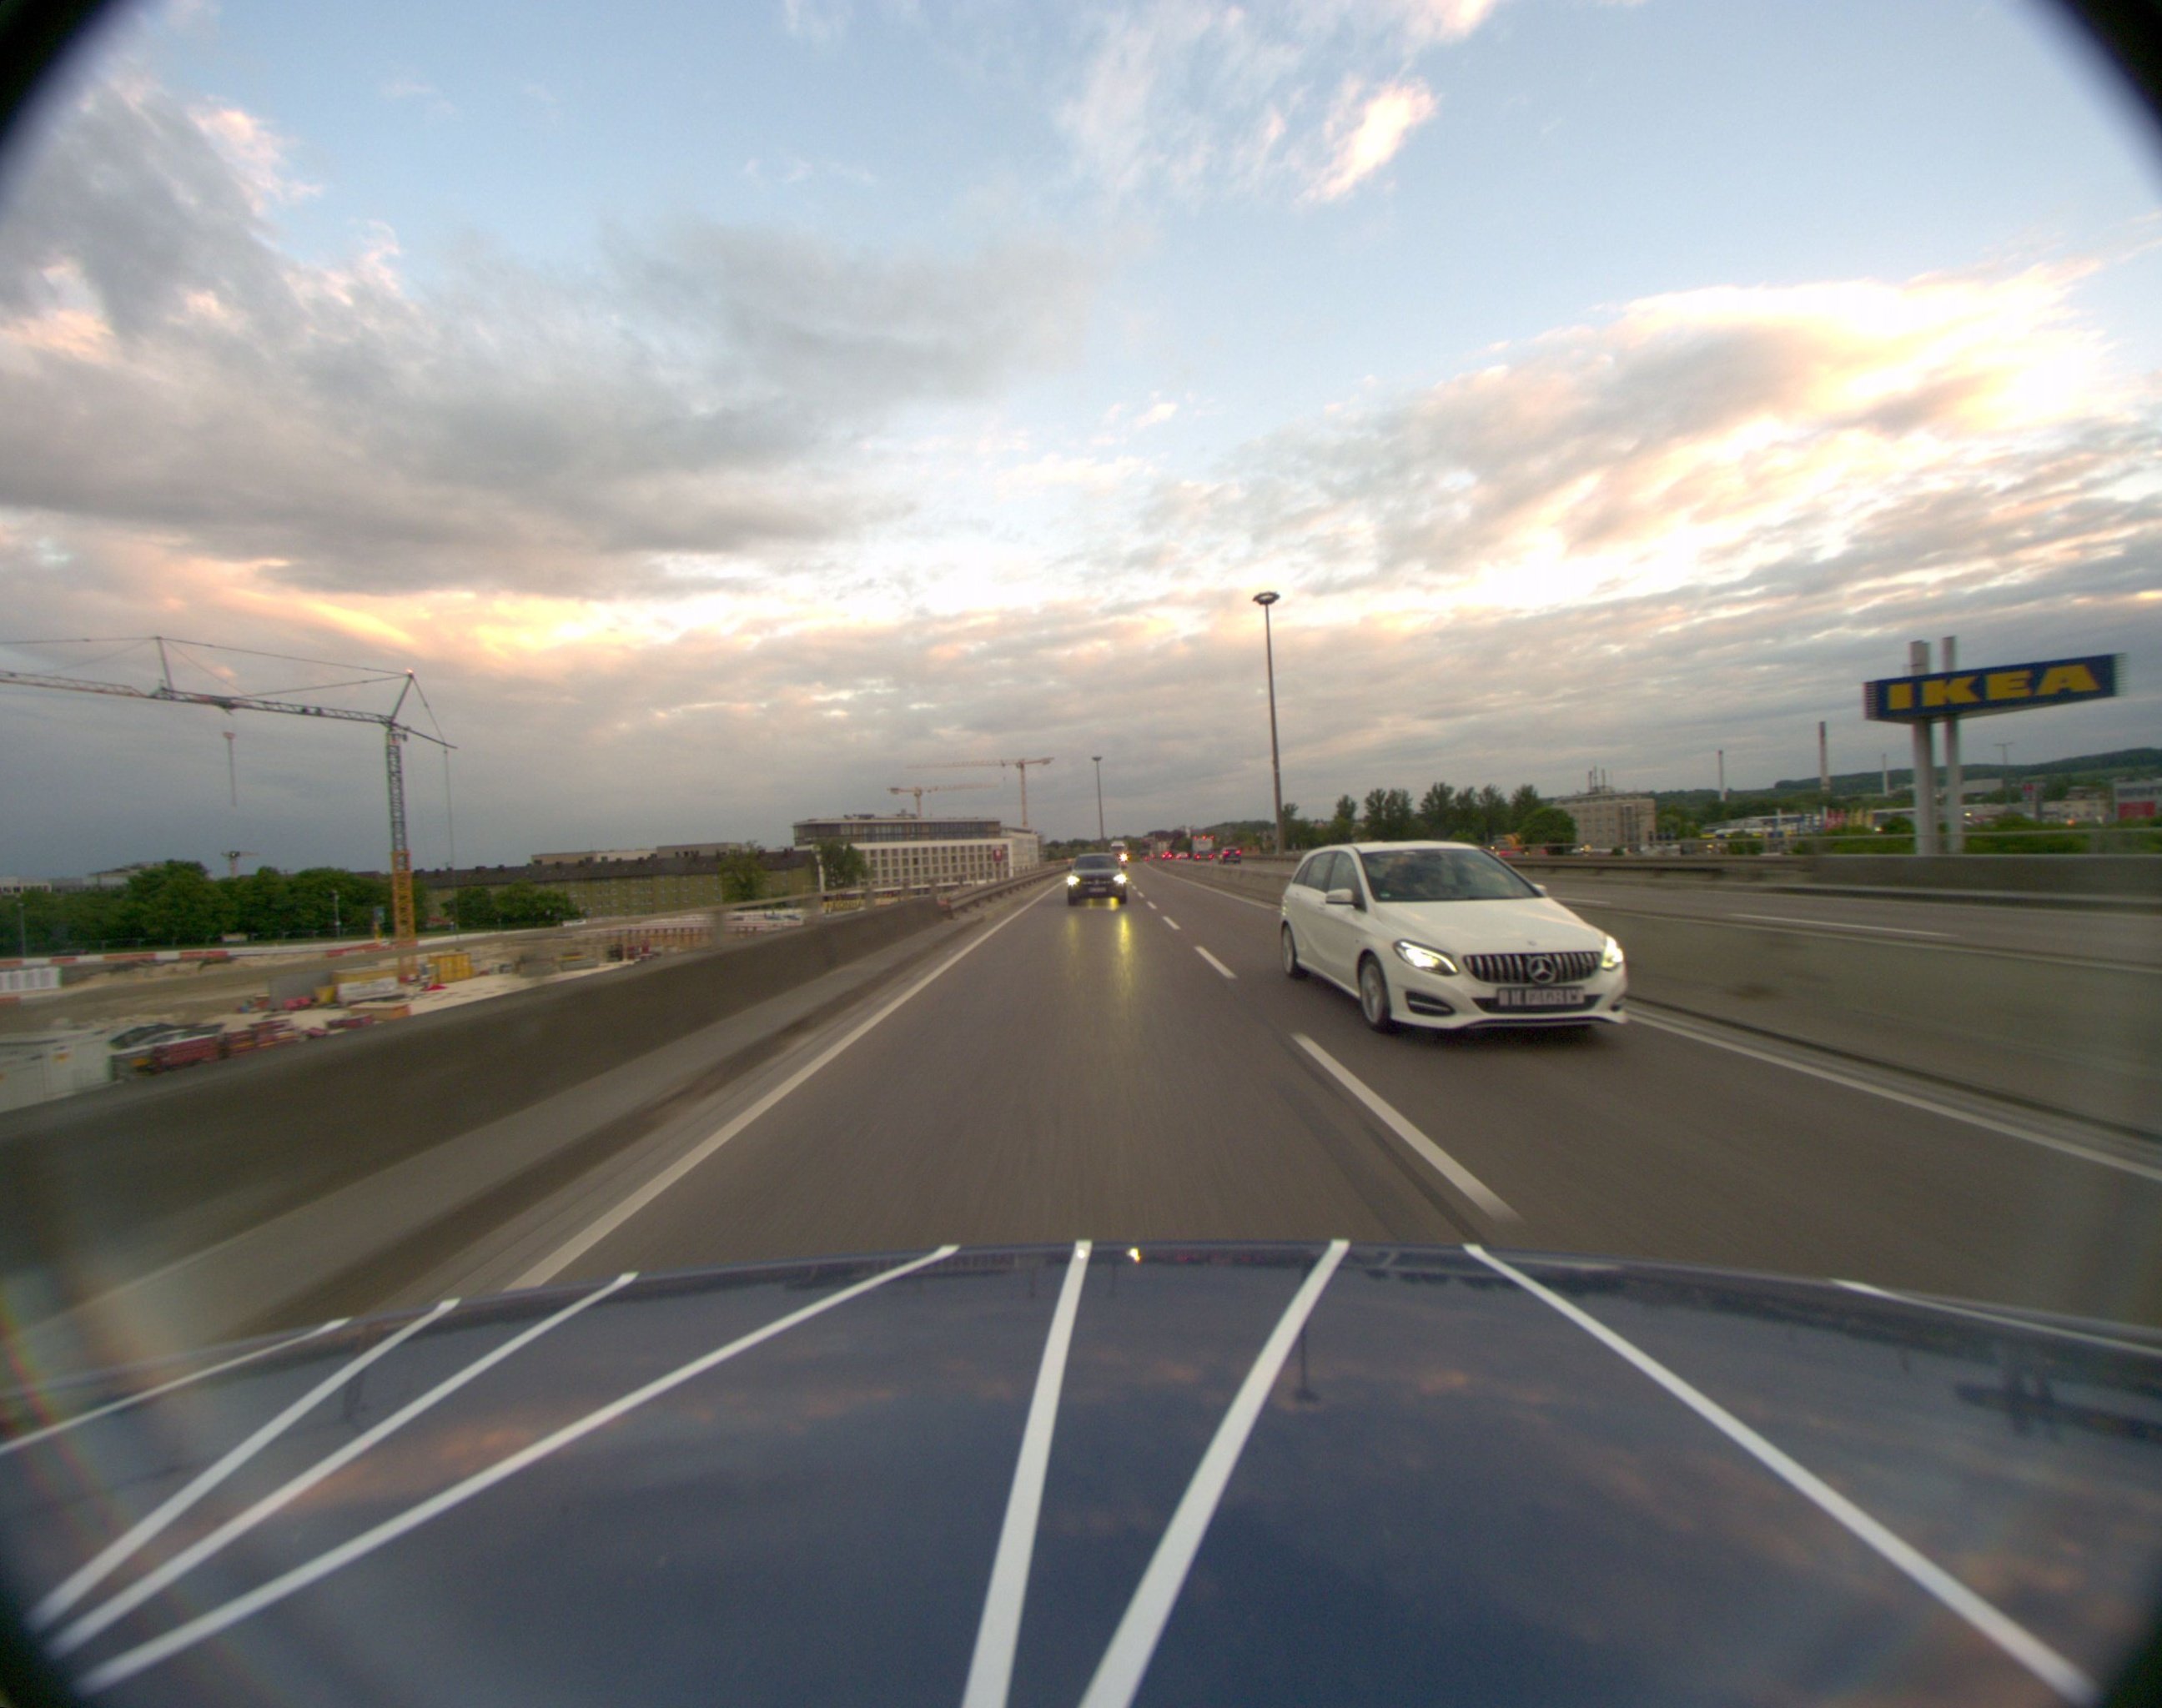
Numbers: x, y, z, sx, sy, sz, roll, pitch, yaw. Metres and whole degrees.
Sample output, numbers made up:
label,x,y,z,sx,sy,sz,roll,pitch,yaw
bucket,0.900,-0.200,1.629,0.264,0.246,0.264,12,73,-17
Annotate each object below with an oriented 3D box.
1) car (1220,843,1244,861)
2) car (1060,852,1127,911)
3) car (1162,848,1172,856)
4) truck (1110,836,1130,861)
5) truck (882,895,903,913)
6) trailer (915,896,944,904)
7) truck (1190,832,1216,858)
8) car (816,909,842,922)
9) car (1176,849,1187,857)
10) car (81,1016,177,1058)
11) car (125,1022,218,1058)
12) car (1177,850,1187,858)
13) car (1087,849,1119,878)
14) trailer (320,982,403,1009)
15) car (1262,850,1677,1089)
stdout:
label,x,y,z,sx,sy,sz,roll,pitch,yaw
car,14.675,-0.208,74.047,1.981,1.596,4.443,-2,0,7
car,0.479,0.782,23.312,1.823,1.602,4.214,-2,0,4
car,17.777,-0.439,157.170,1.632,1.432,3.837,-2,-1,3
truck,7.245,-0.992,139.856,3.164,4.369,8.796,-2,0,6
truck,-36.512,9.743,147.410,2.163,2.930,7.337,-5,-1,-1
trailer,-31.935,9.714,160.371,5.875,1.340,2.024,-2,1,-15
truck,16.497,-1.174,103.171,2.540,3.277,7.447,-2,1,3
car,-42.361,10.340,127.676,3.787,1.729,1.647,-4,1,18
car,20.437,-0.271,154.326,1.835,1.494,4.817,-2,0,4
car,-69.400,13.329,55.429,1.682,1.910,4.005,-9,0,30
car,-62.713,12.826,52.464,1.526,1.433,3.802,-9,0,30
car,25.078,-0.035,188.999,1.905,1.889,5.460,-2,0,3
car,1.388,0.620,47.645,1.891,1.641,4.345,-3,-1,2
trailer,-55.273,10.831,58.434,1.780,1.233,4.259,-5,0,29
car,3.152,0.819,7.450,1.695,1.527,4.785,-2,-1,2
